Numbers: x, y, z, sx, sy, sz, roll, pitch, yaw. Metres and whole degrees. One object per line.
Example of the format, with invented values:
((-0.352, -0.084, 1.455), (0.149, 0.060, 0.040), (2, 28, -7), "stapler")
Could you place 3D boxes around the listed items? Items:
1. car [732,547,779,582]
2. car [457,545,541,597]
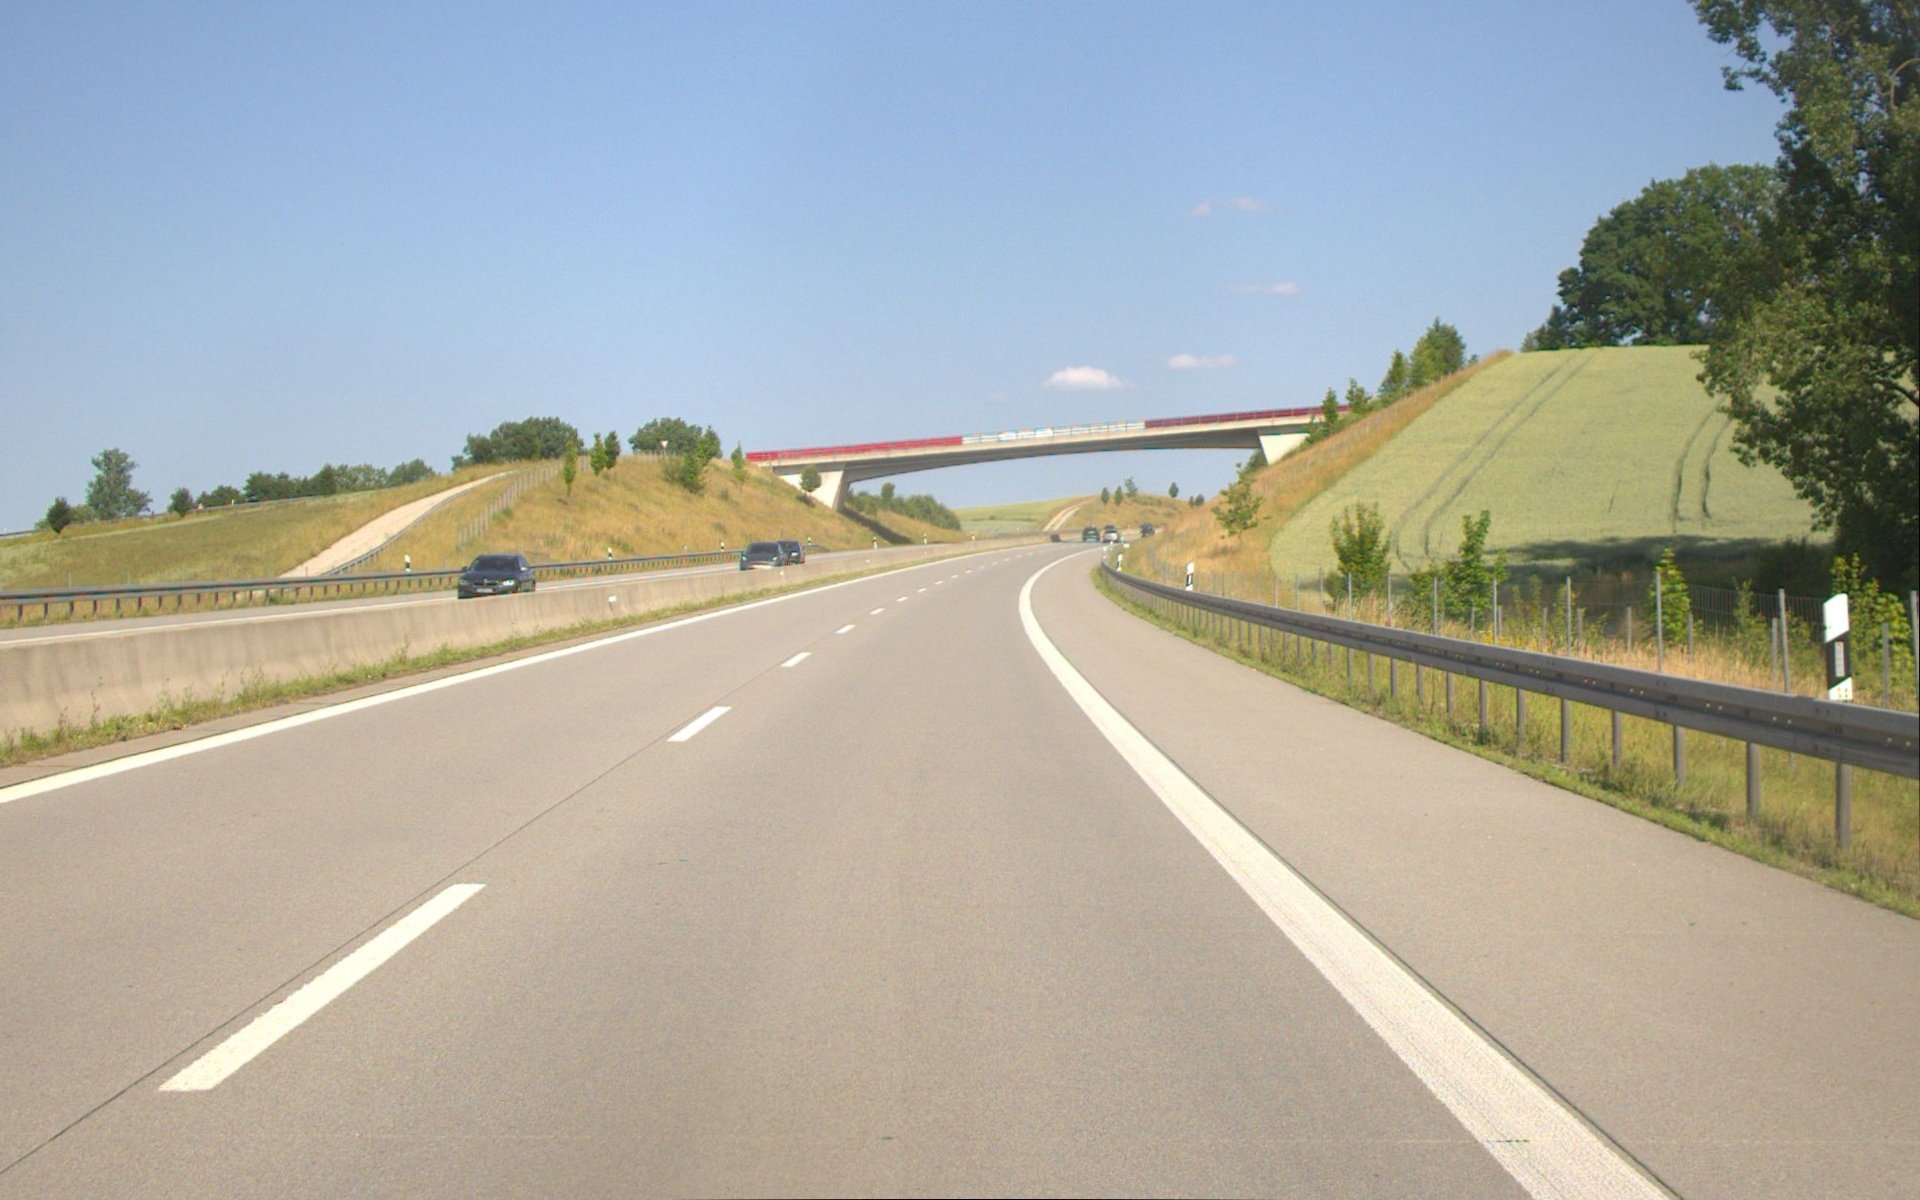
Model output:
((-9.791, -1.707, 165.040), (1.813, 1.609, 4.676), (1, 0, 2), "car")
((-13.502, -0.845, 100.896), (1.813, 1.451, 4.512), (1, 0, 0), "car")
